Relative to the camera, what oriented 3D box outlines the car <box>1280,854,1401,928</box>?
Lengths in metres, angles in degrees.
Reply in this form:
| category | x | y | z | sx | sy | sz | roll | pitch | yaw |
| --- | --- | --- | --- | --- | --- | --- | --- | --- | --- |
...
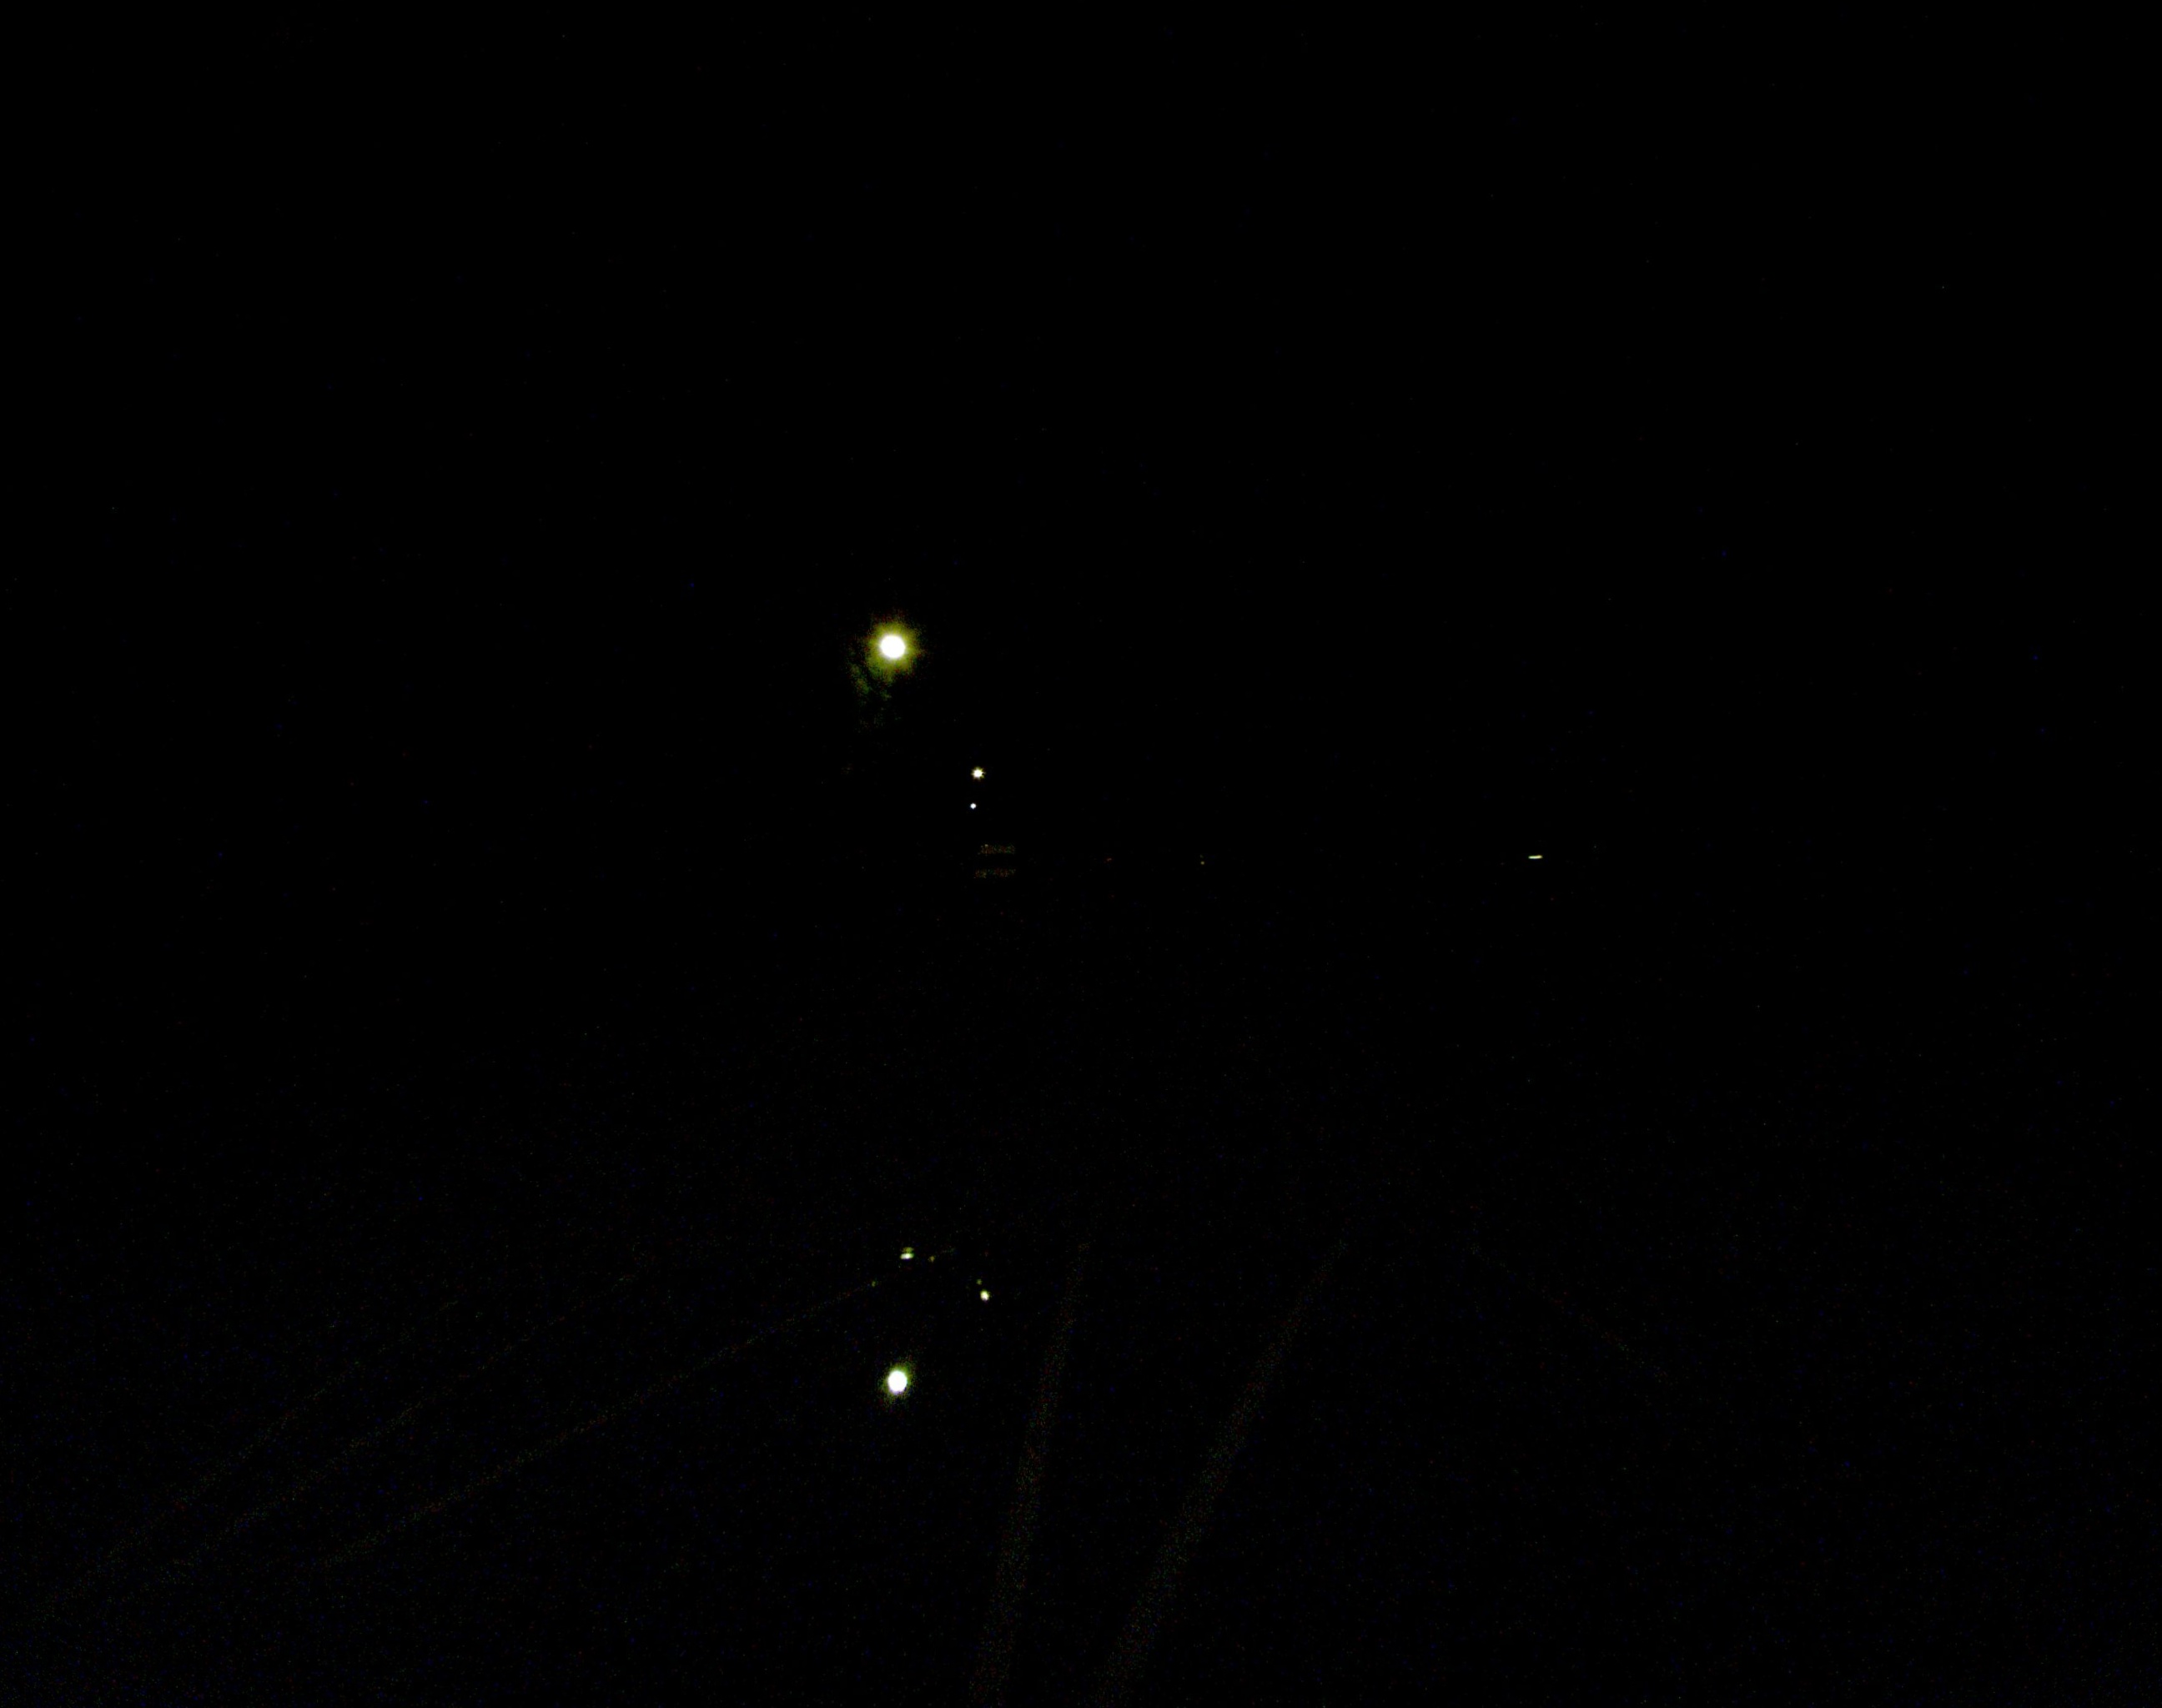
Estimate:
| category | x | y | z | sx | sy | sz | roll | pitch | yaw |
| --- | --- | --- | --- | --- | --- | --- | --- | --- | --- |
| car | 6.132 | 0.804 | 18.467 | 1.759 | 1.517 | 4.324 | -2 | 0 | 5 |

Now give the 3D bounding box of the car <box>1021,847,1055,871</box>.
| category | x | y | z | sx | sy | sz | roll | pitch | yaw |
| --- | --- | --- | --- | --- | --- | --- | --- | --- | --- |
| car | -6.094 | 0.756 | 107.418 | 2.392 | 3.224 | 7.218 | -2 | 0 | -23 |

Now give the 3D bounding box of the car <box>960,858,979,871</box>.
| category | x | y | z | sx | sy | sz | roll | pitch | yaw |
| --- | --- | --- | --- | --- | --- | --- | --- | --- | --- |
| car | -15.897 | 1.523 | 108.349 | 1.736 | 1.769 | 4.309 | -3 | 0 | -21 |

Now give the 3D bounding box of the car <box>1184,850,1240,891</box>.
| category | x | y | z | sx | sy | sz | roll | pitch | yaw |
| --- | --- | --- | --- | --- | --- | --- | --- | --- | --- |
| car | 6.295 | 0.763 | 37.017 | 1.834 | 1.806 | 4.838 | -1 | 0 | -1 |

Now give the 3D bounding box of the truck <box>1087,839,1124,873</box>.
| category | x | y | z | sx | sy | sz | roll | pitch | yaw |
| --- | --- | --- | --- | --- | --- | --- | --- | --- | --- |
| truck | 2.439 | 0.234 | 78.025 | 2.381 | 3.224 | 7.226 | -2 | 0 | -9 |

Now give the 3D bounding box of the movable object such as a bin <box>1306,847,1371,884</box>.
| category | x | y | z | sx | sy | sz | roll | pitch | yaw |
| --- | --- | --- | --- | --- | --- | --- | --- | --- | --- |
| movable object such as a bin | 10.906 | 0.481 | 32.305 | 2.341 | 1.486 | 1.416 | -2 | 0 | 7 |

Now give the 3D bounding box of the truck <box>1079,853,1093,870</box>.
| category | x | y | z | sx | sy | sz | roll | pitch | yaw |
| --- | --- | --- | --- | --- | --- | --- | --- | --- | --- |
| truck | 0.746 | 1.233 | 124.650 | 2.138 | 2.597 | 7.099 | -1 | 0 | 0 |

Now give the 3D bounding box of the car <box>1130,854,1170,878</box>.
| category | x | y | z | sx | sy | sz | roll | pitch | yaw |
| --- | --- | --- | --- | --- | --- | --- | --- | --- | --- |
| car | 5.379 | 0.935 | 59.954 | 2.000 | 1.761 | 4.688 | -2 | 0 | -9 |

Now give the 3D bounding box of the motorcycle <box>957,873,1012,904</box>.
| category | x | y | z | sx | sy | sz | roll | pitch | yaw |
| --- | --- | --- | --- | --- | --- | --- | --- | --- | --- |
| motorcycle | -4.001 | 1.415 | 31.323 | 2.180 | 1.176 | 0.770 | -3 | 0 | 32 |

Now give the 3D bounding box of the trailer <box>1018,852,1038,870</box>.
| category | x | y | z | sx | sy | sz | roll | pitch | yaw |
| --- | --- | --- | --- | --- | --- | --- | --- | --- | --- |
| trailer | -7.996 | 1.072 | 114.448 | 2.005 | 2.749 | 3.994 | 0 | -1 | -18 |

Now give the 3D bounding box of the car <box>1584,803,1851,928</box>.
| category | x | y | z | sx | sy | sz | roll | pitch | yaw |
| --- | --- | --- | --- | --- | --- | --- | --- | --- | --- |
| car | 13.585 | 0.234 | 16.726 | 2.212 | 2.308 | 4.626 | -2 | 0 | 5 |

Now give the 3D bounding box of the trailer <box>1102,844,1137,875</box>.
| category | x | y | z | sx | sy | sz | roll | pitch | yaw |
| --- | --- | --- | --- | --- | --- | --- | --- | --- | --- |
| trailer | 3.527 | 0.543 | 71.456 | 2.212 | 2.779 | 4.612 | -2 | 0 | -10 |

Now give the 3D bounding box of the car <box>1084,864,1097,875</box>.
| category | x | y | z | sx | sy | sz | roll | pitch | yaw |
| --- | --- | --- | --- | --- | --- | --- | --- | --- | --- |
| car | 1.430 | 2.295 | 114.413 | 1.862 | 1.630 | 3.999 | -1 | 0 | -2 |

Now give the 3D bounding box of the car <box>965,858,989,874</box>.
| category | x | y | z | sx | sy | sz | roll | pitch | yaw |
| --- | --- | --- | --- | --- | --- | --- | --- | --- | --- |
| car | -13.835 | 1.577 | 100.918 | 2.001 | 2.002 | 5.347 | -4 | 0 | -18 |

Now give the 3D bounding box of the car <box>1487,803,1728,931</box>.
| category | x | y | z | sx | sy | sz | roll | pitch | yaw |
| --- | --- | --- | --- | --- | --- | --- | --- | --- | --- |
| car | 10.813 | 0.245 | 16.181 | 1.998 | 2.308 | 4.968 | 0 | 0 | 5 |

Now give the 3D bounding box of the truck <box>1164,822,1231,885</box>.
| category | x | y | z | sx | sy | sz | roll | pitch | yaw |
| --- | --- | --- | --- | --- | --- | --- | --- | --- | --- |
| truck | 6.557 | 0.004 | 43.802 | 2.550 | 3.261 | 7.312 | -2 | 0 | -1 |

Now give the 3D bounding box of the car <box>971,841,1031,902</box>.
| category | x | y | z | sx | sy | sz | roll | pitch | yaw |
| --- | --- | --- | --- | --- | --- | --- | --- | --- | --- |
| car | -3.612 | 0.774 | 35.514 | 2.026 | 2.512 | 6.051 | -3 | 0 | 0 |
